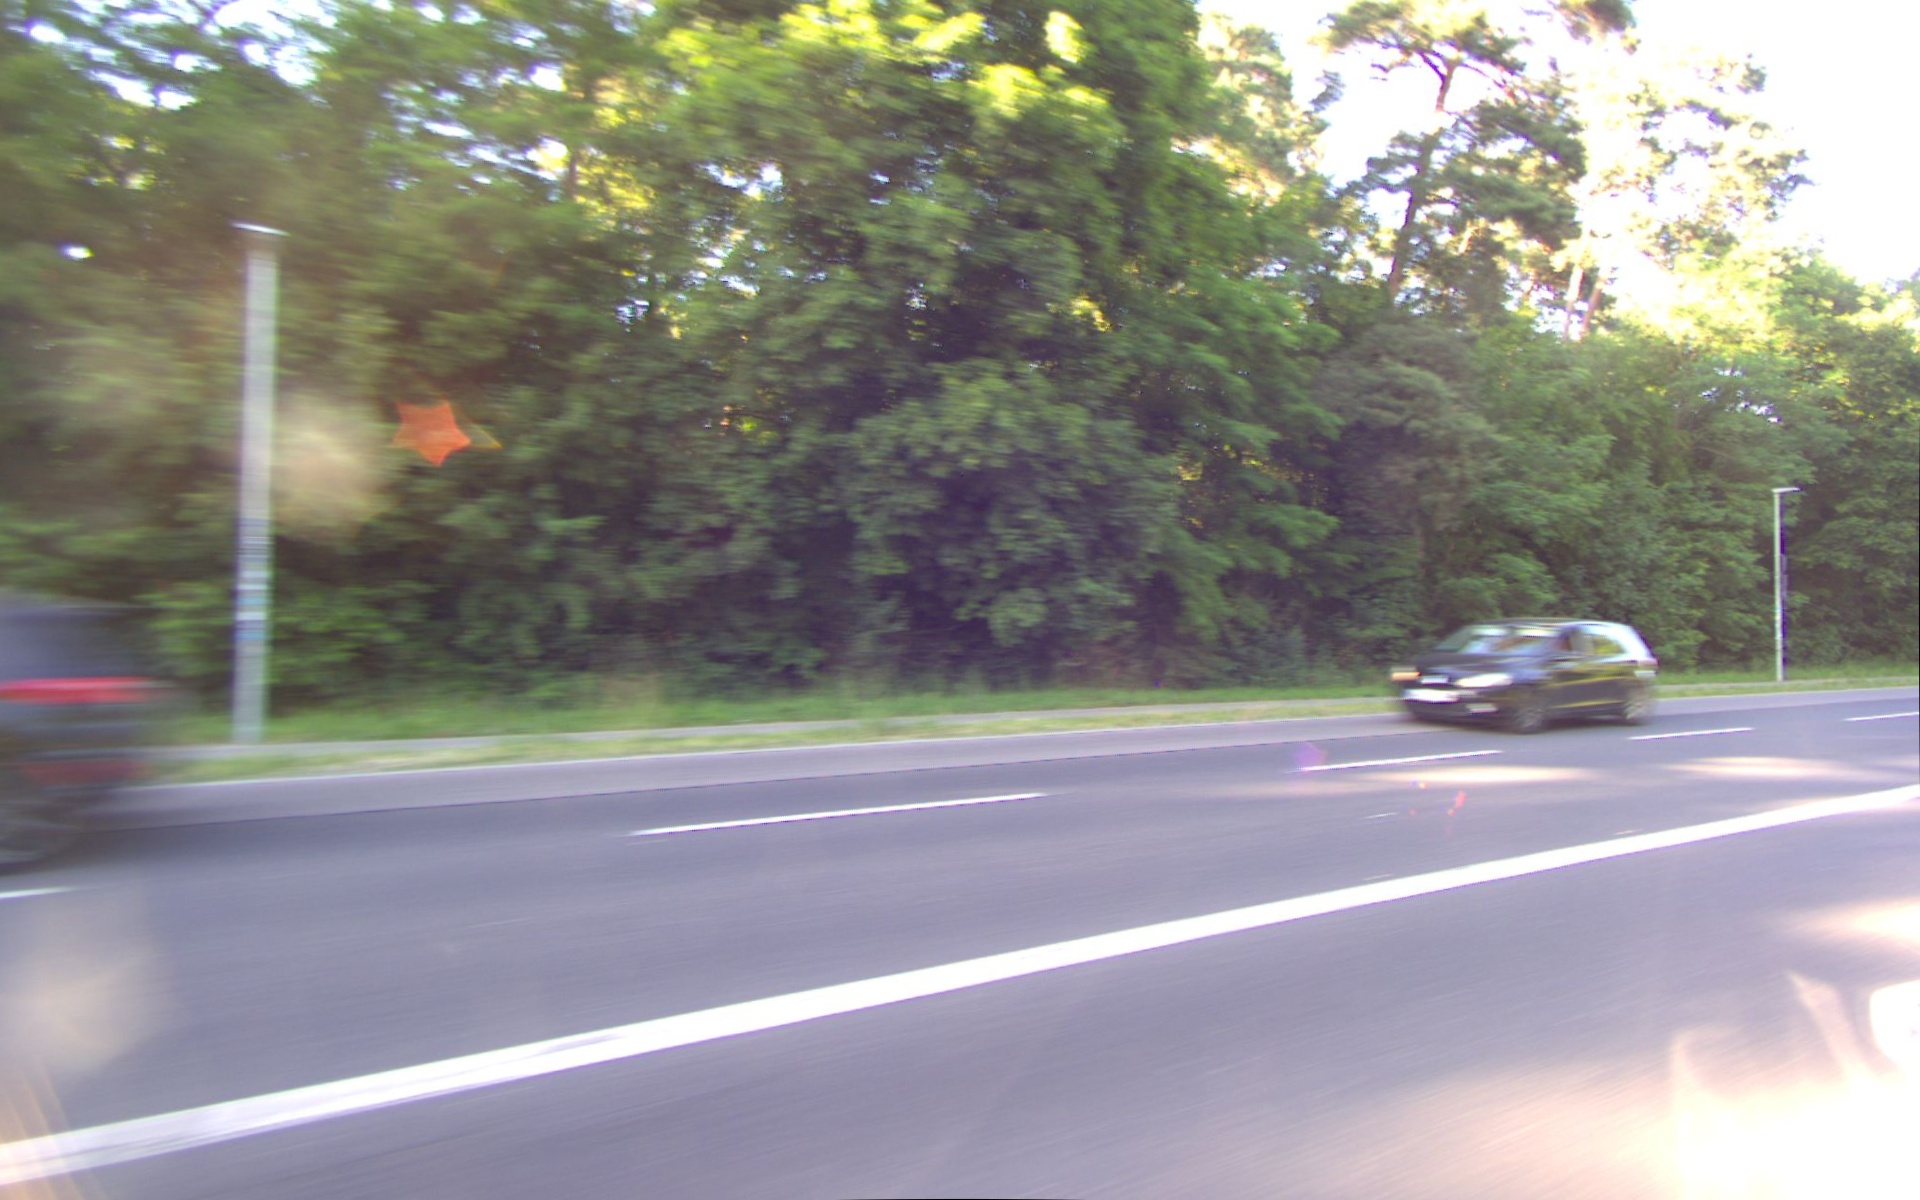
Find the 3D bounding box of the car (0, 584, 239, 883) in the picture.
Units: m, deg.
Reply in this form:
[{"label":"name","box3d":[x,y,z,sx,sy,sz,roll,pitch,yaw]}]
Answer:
[{"label":"car","box3d":[-6.266,0.645,5.200,3.954,1.477,1.729,2,1,-32]}]

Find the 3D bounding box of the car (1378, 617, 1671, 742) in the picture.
[{"label":"car","box3d":[7.839,1.008,13.870,4.122,1.500,1.650,1,-1,-30]}]
